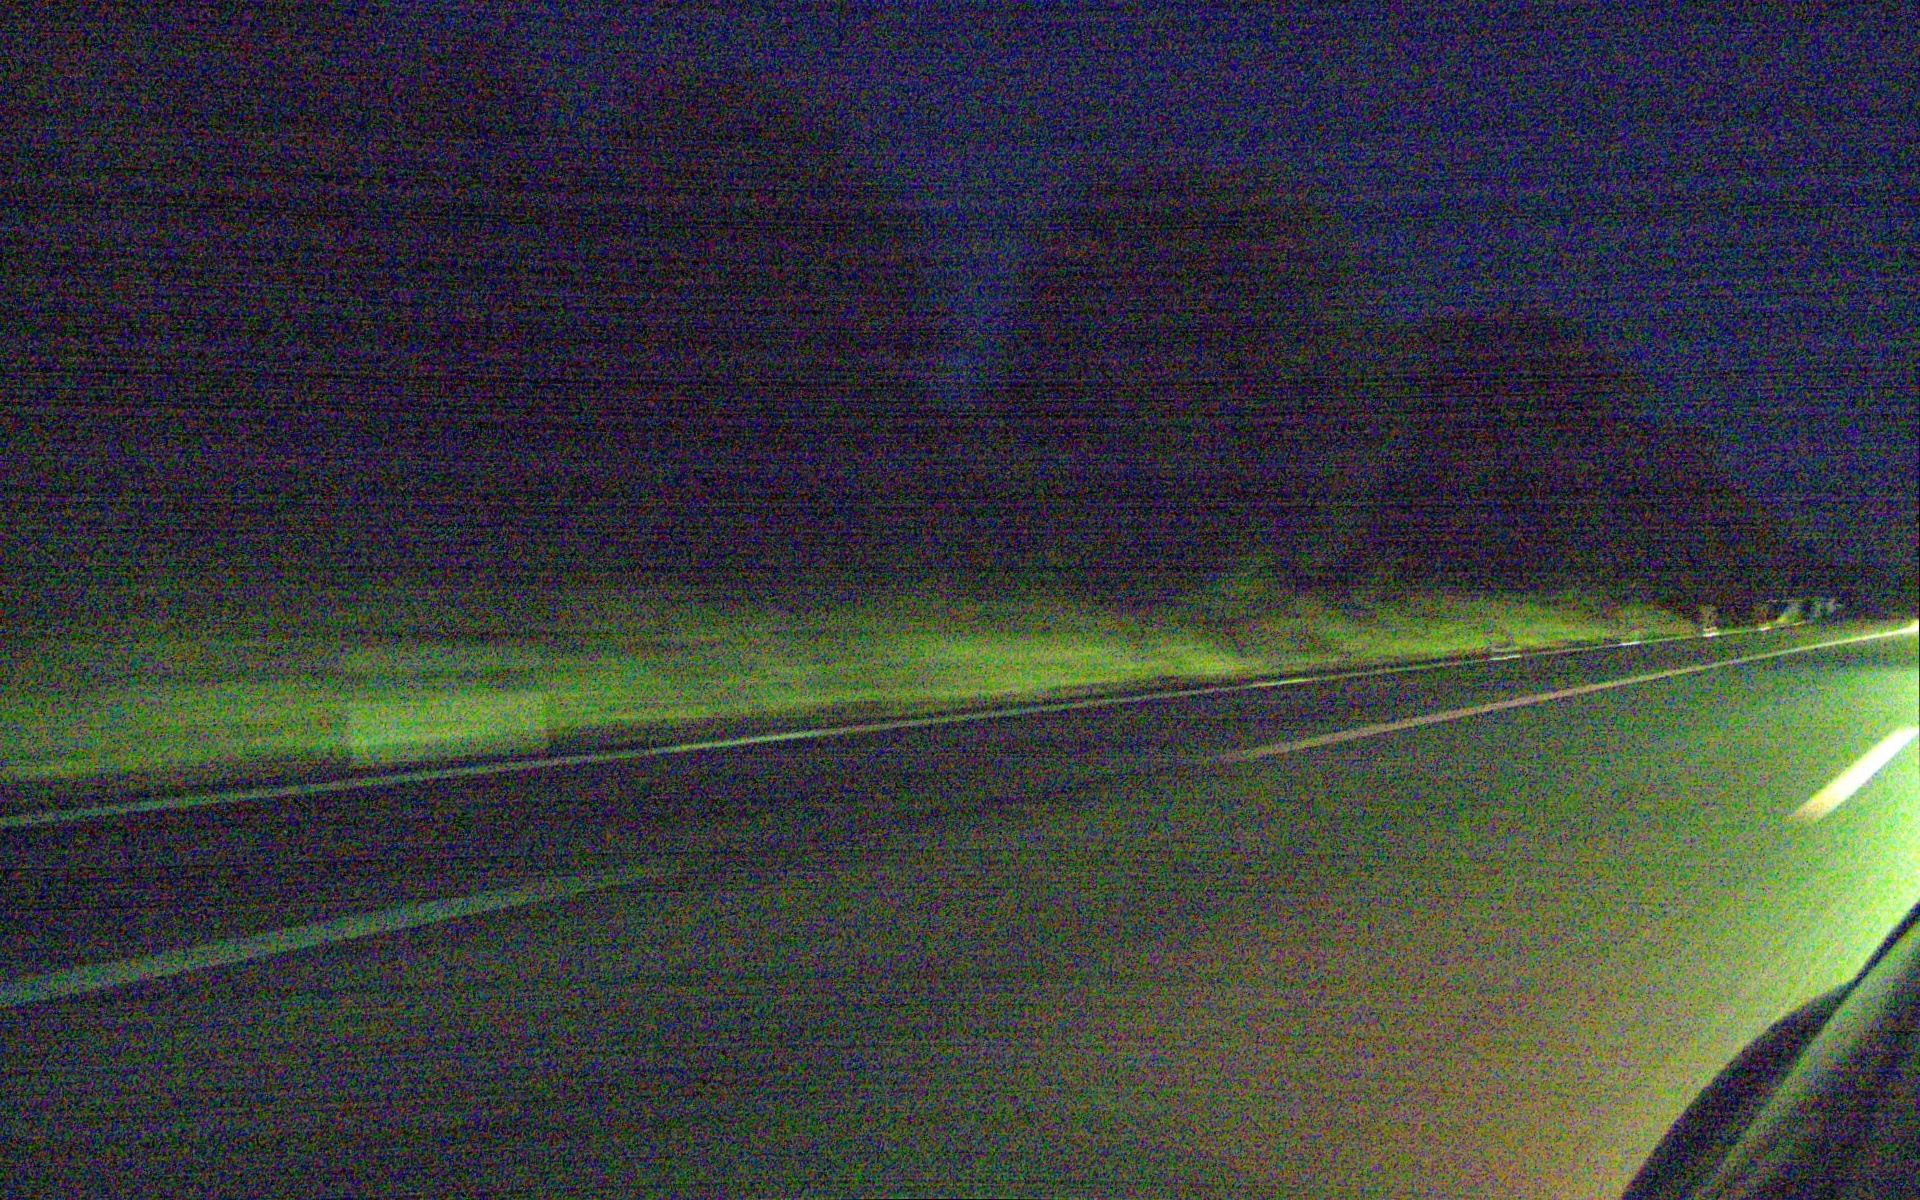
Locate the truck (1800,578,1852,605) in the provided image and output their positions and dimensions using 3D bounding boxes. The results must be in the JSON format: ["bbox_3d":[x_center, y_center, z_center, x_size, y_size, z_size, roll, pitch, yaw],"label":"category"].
[{"bbox_3d":[123.693,-1.148,144.694,2.490,3.695,6.197,-1,0,7],"label":"truck"}]

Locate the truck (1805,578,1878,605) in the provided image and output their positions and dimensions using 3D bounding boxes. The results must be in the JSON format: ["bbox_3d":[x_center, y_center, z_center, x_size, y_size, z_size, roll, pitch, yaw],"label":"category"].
[{"bbox_3d":[132.137,-1.234,151.840,3.006,3.735,9.650,-1,0,5],"label":"truck"}]

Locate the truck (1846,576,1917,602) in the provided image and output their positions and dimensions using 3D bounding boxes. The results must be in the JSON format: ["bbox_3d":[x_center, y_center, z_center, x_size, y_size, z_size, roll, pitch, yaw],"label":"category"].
[{"bbox_3d":[147.671,-1.646,162.352,3.006,3.975,9.650,-1,0,5],"label":"truck"}]

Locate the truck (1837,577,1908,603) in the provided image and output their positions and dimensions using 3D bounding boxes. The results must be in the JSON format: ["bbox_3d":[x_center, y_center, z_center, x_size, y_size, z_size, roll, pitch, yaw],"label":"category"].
[{"bbox_3d":[144.203,-1.581,160.091,2.907,3.975,9.650,-1,0,5],"label":"truck"}]

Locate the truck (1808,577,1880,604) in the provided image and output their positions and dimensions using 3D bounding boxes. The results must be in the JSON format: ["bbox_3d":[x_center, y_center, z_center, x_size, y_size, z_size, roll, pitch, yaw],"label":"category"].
[{"bbox_3d":[136.218,-1.428,156.117,3.006,3.975,9.650,-1,0,5],"label":"truck"}]

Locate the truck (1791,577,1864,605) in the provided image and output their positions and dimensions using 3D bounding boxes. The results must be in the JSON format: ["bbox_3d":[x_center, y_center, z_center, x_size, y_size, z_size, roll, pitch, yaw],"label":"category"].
[{"bbox_3d":[128.022,-1.275,149.610,3.006,3.975,9.650,-1,0,5],"label":"truck"}]

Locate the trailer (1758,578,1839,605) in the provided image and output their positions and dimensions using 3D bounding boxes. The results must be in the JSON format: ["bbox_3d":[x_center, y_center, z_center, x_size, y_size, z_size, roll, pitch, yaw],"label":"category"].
[{"bbox_3d":[124.376,-1.195,150.456,2.499,3.711,12.972,-1,0,7],"label":"trailer"}]

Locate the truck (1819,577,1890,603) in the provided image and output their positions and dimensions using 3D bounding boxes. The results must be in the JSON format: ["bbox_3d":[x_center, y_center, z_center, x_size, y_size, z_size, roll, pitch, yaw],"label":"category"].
[{"bbox_3d":[140.608,-1.510,159.247,3.006,3.975,9.650,-1,0,5],"label":"truck"}]
